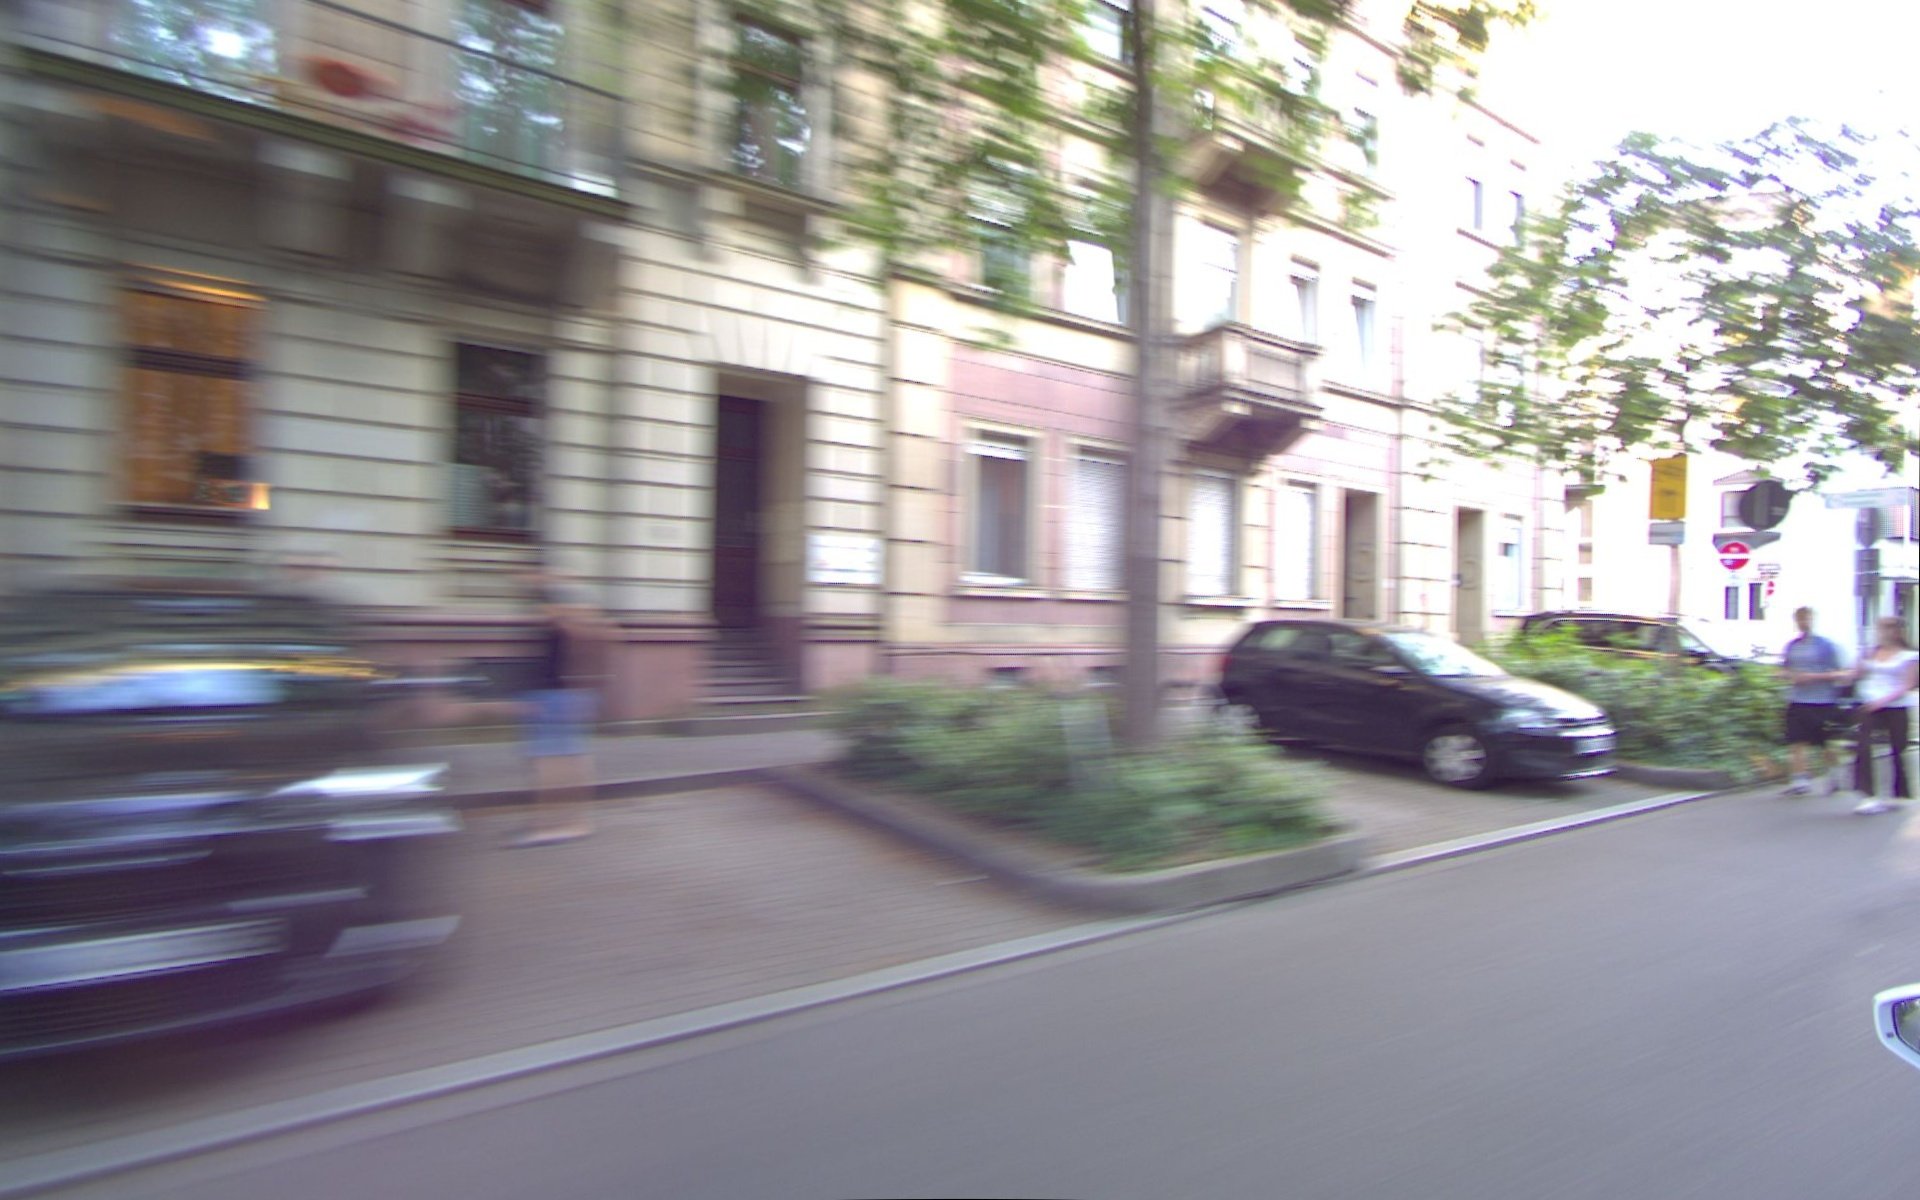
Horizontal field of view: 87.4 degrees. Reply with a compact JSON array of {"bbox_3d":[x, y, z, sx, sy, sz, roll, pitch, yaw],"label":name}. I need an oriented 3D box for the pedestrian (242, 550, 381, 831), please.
[{"bbox_3d":[-4.363,0.573,6.790,0.729,1.762,0.665,1,0,-32],"label":"pedestrian"}]

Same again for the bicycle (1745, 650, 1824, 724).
[{"bbox_3d":[13.090,1.371,15.925,1.845,1.073,0.518,4,1,-38],"label":"bicycle"}]

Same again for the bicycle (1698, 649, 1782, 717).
[{"bbox_3d":[12.761,1.357,16.420,1.844,1.032,0.519,4,1,-35],"label":"bicycle"}]

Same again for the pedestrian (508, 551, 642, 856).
[{"bbox_3d":[-2.421,0.604,6.280,0.663,1.762,0.731,1,0,-28],"label":"pedestrian"}]

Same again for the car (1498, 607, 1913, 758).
[{"bbox_3d":[10.409,1.014,14.390,1.853,1.673,4.398,1,1,-34],"label":"car"}]

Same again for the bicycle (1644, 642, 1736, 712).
[{"bbox_3d":[12.403,1.304,17.051,1.844,1.076,0.664,4,1,-35],"label":"bicycle"}]

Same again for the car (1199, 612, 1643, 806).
[{"bbox_3d":[4.464,0.917,10.193,1.854,1.478,3.667,1,1,-35],"label":"car"}]

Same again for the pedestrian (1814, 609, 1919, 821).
[{"bbox_3d":[7.822,0.931,8.495,0.824,1.692,0.788,2,-2,-40],"label":"pedestrian"}]

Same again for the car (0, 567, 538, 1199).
[{"bbox_3d":[-3.230,0.680,4.197,1.889,1.552,3.919,2,0,-35],"label":"car"}]

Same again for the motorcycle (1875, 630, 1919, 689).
[{"bbox_3d":[25.430,1.572,26.222,2.180,1.501,0.856,1,0,37],"label":"motorcycle"}]

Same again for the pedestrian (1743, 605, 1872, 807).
[{"bbox_3d":[7.910,0.946,9.383,0.824,1.760,0.788,2,-2,-40],"label":"pedestrian"}]
